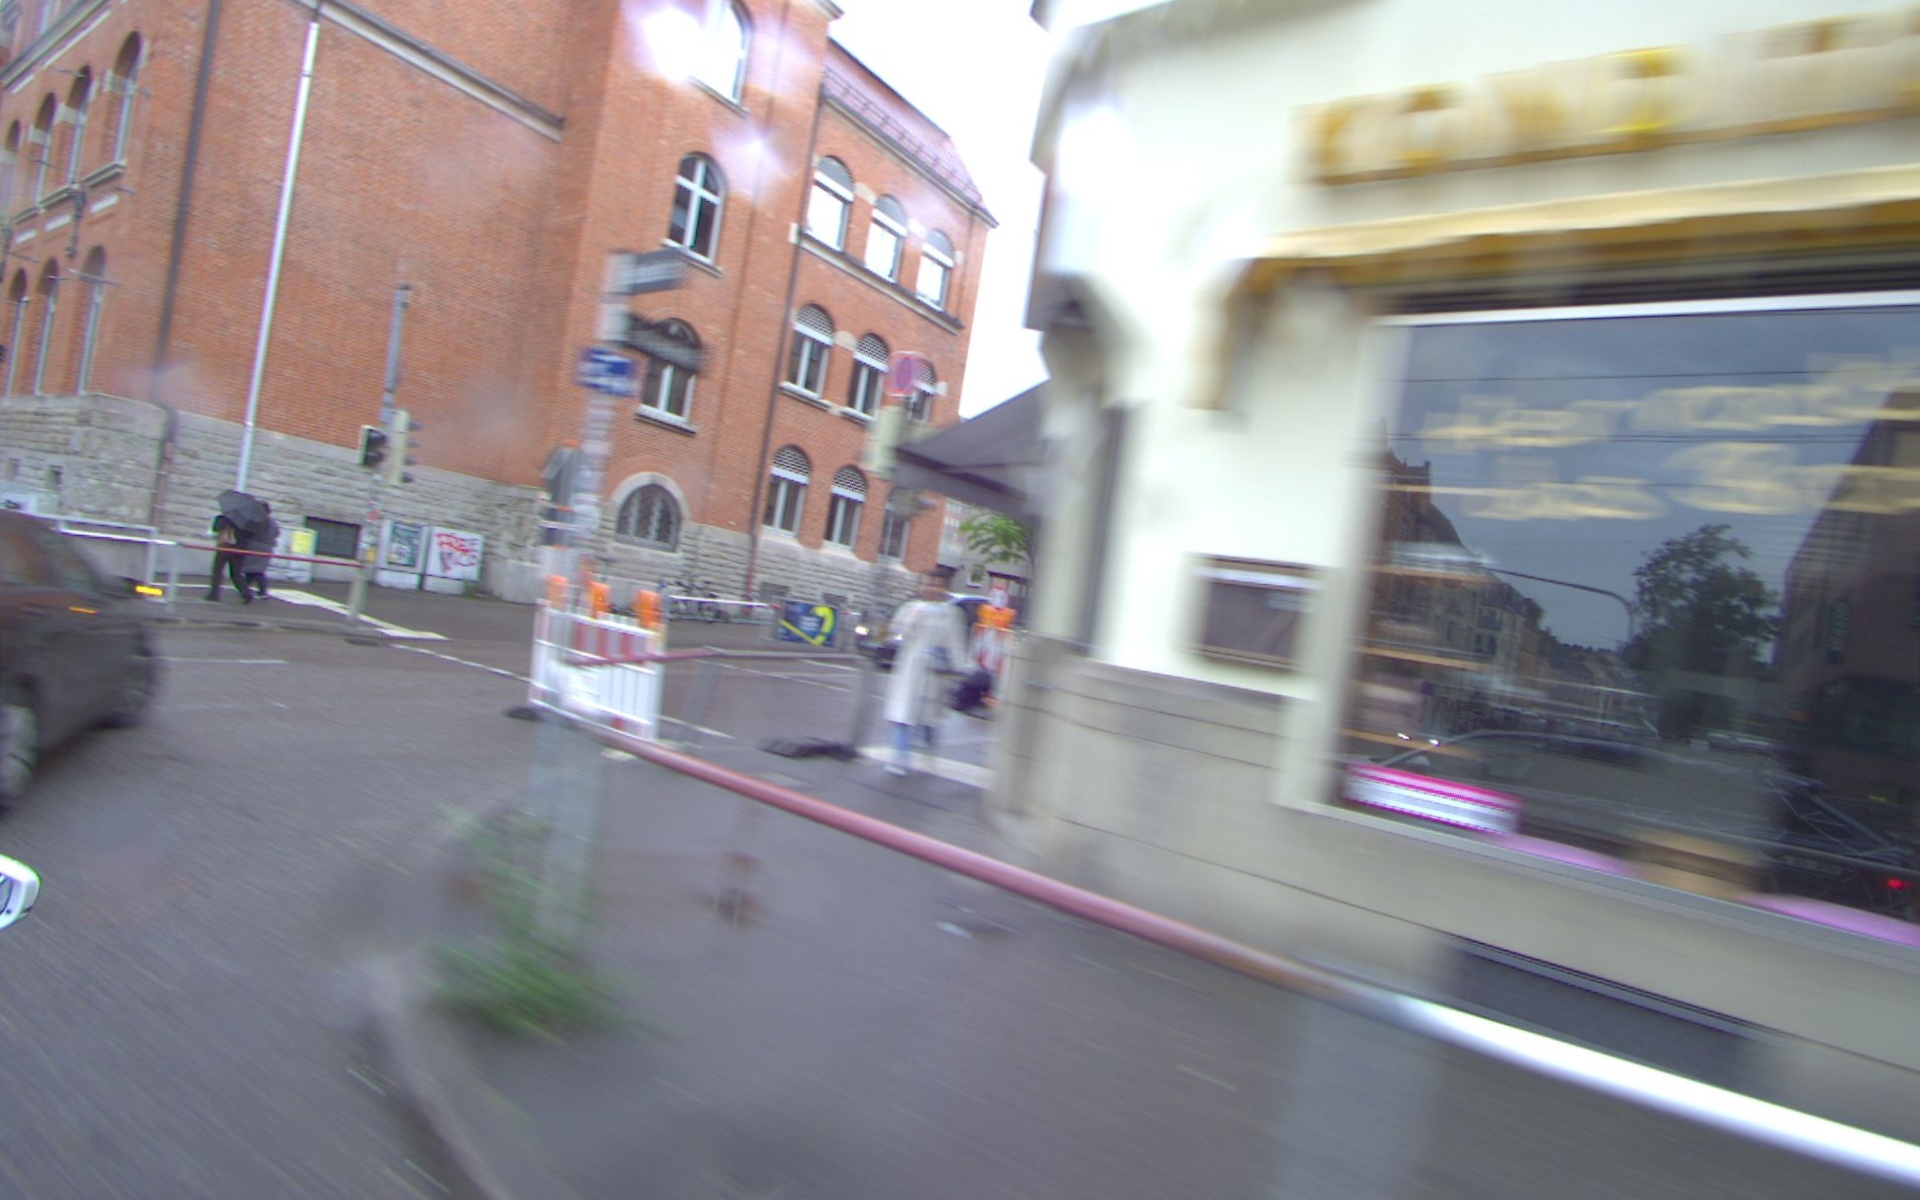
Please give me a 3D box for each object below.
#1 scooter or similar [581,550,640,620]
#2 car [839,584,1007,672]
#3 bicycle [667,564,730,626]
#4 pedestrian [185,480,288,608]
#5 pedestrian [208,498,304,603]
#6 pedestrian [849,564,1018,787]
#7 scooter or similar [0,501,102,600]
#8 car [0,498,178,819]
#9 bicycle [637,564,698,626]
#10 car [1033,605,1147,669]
[{"bbox_3d":[-8.283,-0.360,23.829,1.494,1.437,0.408,10,2,38],"label":"scooter or similar"},{"bbox_3d":[-0.763,0.677,23.120,1.707,1.719,3.986,6,1,34],"label":"car"},{"bbox_3d":[-6.730,-0.131,25.878,1.811,1.262,0.343,14,7,35],"label":"bicycle"},{"bbox_3d":[-11.771,-0.903,16.370,1.057,1.911,0.958,7,1,36],"label":"pedestrian"},{"bbox_3d":[-12.091,-0.843,17.280,1.057,1.646,0.958,7,1,36],"label":"pedestrian"},{"bbox_3d":[-0.230,0.622,8.498,0.984,1.724,0.777,6,-2,44],"label":"pedestrian"},{"bbox_3d":[-13.064,-0.703,14.222,1.238,1.266,0.632,6,0,-32],"label":"scooter or similar"},{"bbox_3d":[-5.723,0.100,5.358,1.781,1.391,3.969,9,-1,-30],"label":"car"},{"bbox_3d":[-7.293,-0.142,25.044,1.640,1.219,0.413,15,7,35],"label":"bicycle"},{"bbox_3d":[5.295,1.495,40.950,3.951,2.038,1.996,7,-1,34],"label":"car"}]
